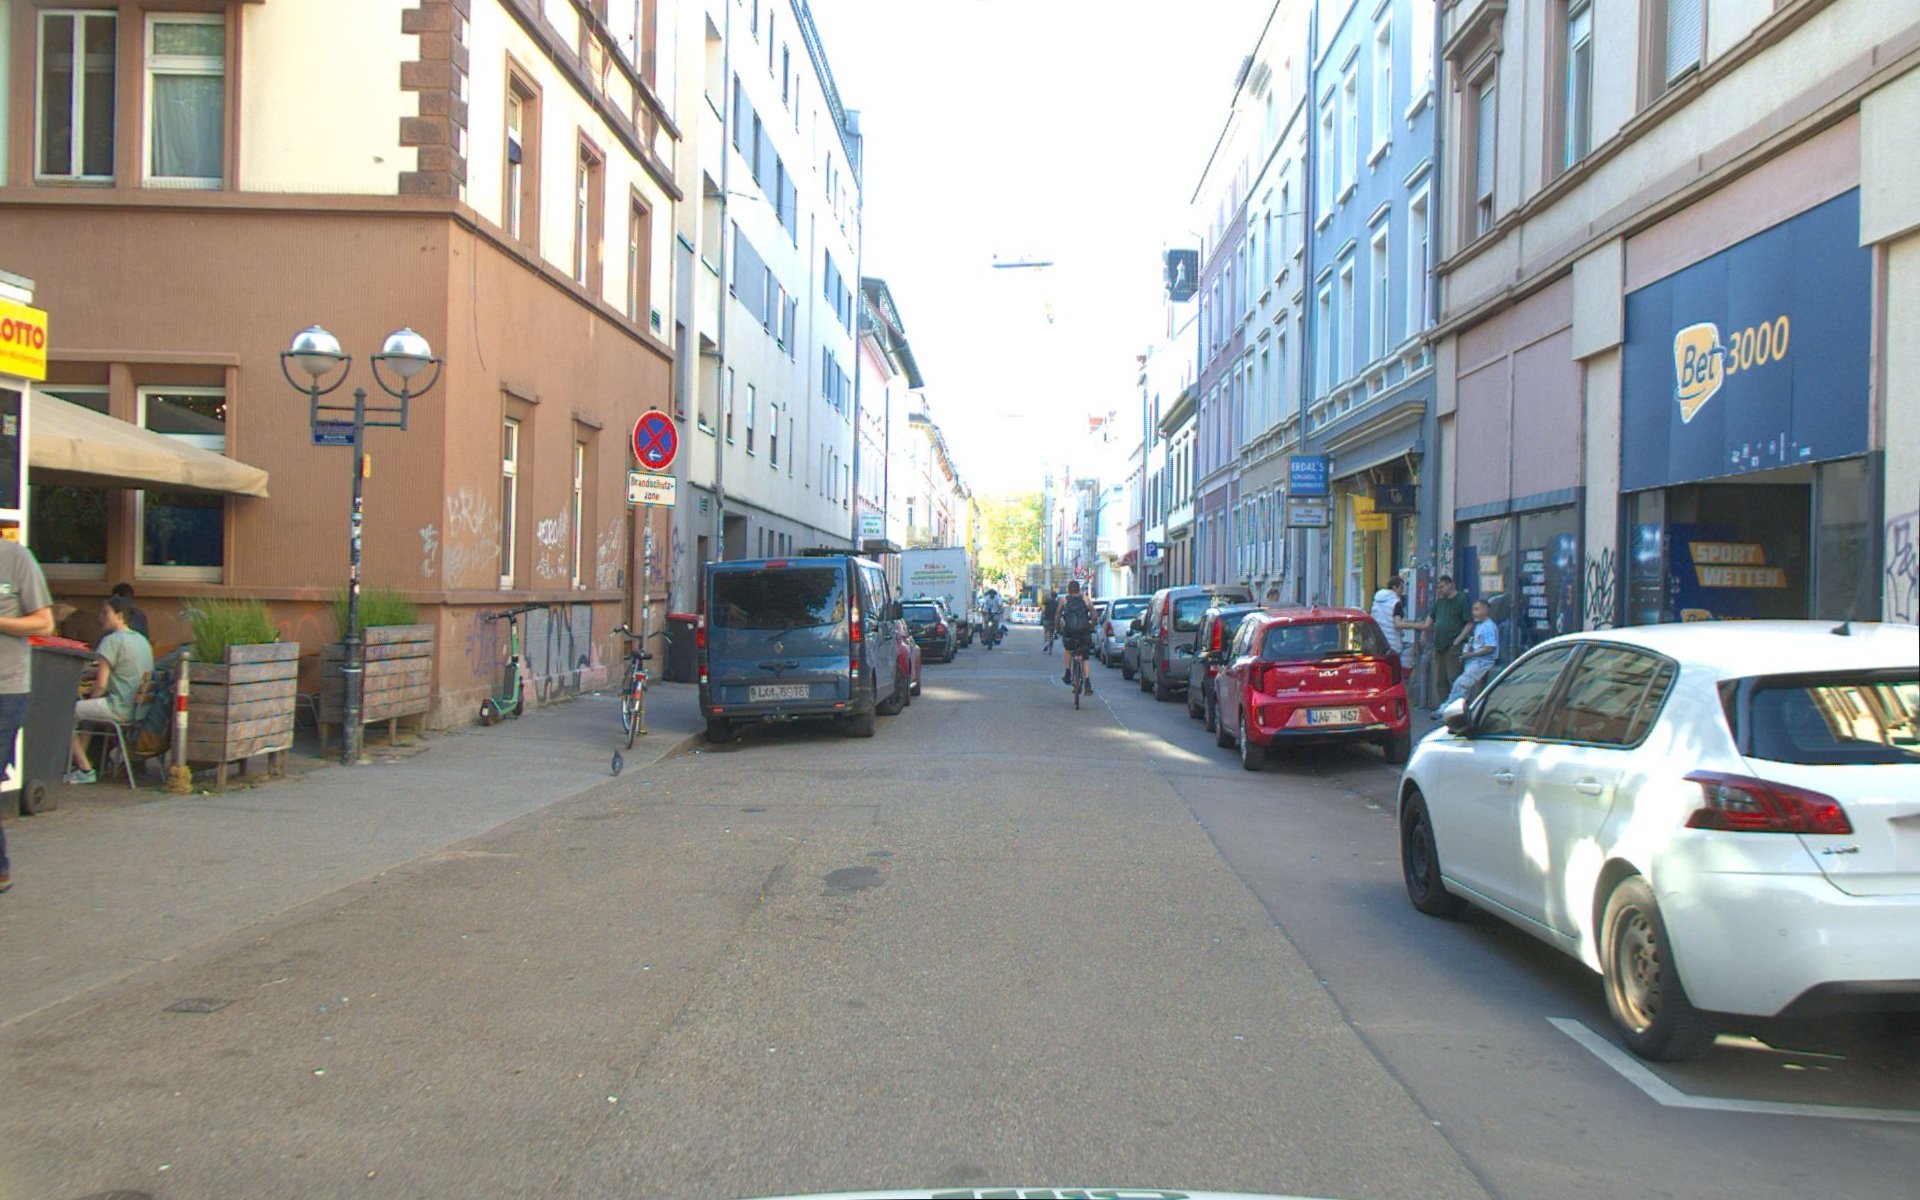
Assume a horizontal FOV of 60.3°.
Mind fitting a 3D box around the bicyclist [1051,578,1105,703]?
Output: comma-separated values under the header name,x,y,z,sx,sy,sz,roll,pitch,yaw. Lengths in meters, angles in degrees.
name,x,y,z,sx,sy,sz,roll,pitch,yaw
bicyclist,1.673,0.571,23.573,0.654,1.706,1.097,2,-1,1

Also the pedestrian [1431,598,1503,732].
name,x,y,z,sx,sy,sz,roll,pitch,yaw
pedestrian,6.101,0.773,19.917,0.575,1.556,0.658,2,-1,-4

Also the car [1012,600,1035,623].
name,x,y,z,sx,sy,sz,roll,pitch,yaw
car,4.502,0.800,117.131,1.578,1.587,3.611,1,0,1

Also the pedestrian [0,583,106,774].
name,x,y,z,sx,sy,sz,roll,pitch,yaw
pedestrian,-7.061,0.585,12.621,0.691,1.399,0.617,2,-1,0

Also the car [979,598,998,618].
name,x,y,z,sx,sy,sz,roll,pitch,yaw
car,2.726,0.752,157.617,1.714,1.853,3.796,0,-1,1

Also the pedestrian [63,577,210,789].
name,x,y,z,sx,sy,sz,roll,pitch,yaw
pedestrian,-5.988,0.591,12.059,0.691,1.470,0.617,2,-1,0

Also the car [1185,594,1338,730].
name,x,y,z,sx,sy,sz,roll,pitch,yaw
car,3.835,0.758,21.478,1.537,1.584,3.315,-2,-1,3

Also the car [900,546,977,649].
name,x,y,z,sx,sy,sz,roll,pitch,yaw
car,-0.667,-0.060,57.461,2.295,3.349,7.156,-1,-1,2

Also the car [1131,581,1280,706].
name,x,y,z,sx,sy,sz,roll,pitch,yaw
car,3.988,0.681,27.492,1.860,1.825,4.315,2,0,1

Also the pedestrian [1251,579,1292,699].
name,x,y,z,sx,sy,sz,roll,pitch,yaw
pedestrian,4.621,0.575,24.561,0.432,1.734,0.655,2,-1,2

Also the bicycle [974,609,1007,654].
name,x,y,z,sx,sy,sz,roll,pitch,yaw
bicycle,0.953,0.969,51.807,0.957,1.337,2.556,0,0,3

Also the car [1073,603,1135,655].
name,x,y,z,sx,sy,sz,roll,pitch,yaw
car,4.474,0.888,51.703,1.651,1.570,4.046,0,-1,1

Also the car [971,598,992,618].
name,x,y,z,sx,sy,sz,roll,pitch,yaw
car,1.801,0.684,140.319,1.714,1.713,3.796,0,-1,1

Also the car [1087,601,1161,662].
name,x,y,z,sx,sy,sz,roll,pitch,yaw
car,4.489,0.849,45.668,1.662,1.570,4.629,0,-1,1

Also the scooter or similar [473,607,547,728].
name,x,y,z,sx,sy,sz,roll,pitch,yaw
scooter or similar,-4.859,0.709,17.918,0.340,1.238,1.392,2,-1,1

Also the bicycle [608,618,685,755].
name,x,y,z,sx,sy,sz,roll,pitch,yaw
bicycle,-3.144,0.824,16.468,0.541,1.238,1.980,3,-1,-15

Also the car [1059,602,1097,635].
name,x,y,z,sx,sy,sz,roll,pitch,yaw
car,5.561,0.876,78.382,1.713,1.513,3.801,0,-1,3

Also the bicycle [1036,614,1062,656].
name,x,y,z,sx,sy,sz,roll,pitch,yaw
bicycle,2.563,1.001,47.782,0.635,1.149,2.136,2,-1,1

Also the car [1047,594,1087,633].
name,x,y,z,sx,sy,sz,roll,pitch,yaw
car,5.388,0.661,83.455,1.714,1.911,3.972,0,-1,-1

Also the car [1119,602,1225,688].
name,x,y,z,sx,sy,sz,roll,pitch,yaw
car,4.133,0.853,32.700,1.521,1.537,3.611,2,0,-1

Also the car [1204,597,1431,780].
name,x,y,z,sx,sy,sz,roll,pitch,yaw
car,3.519,0.824,16.865,1.573,1.600,3.554,2,0,1

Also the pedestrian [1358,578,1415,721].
name,x,y,z,sx,sy,sz,roll,pitch,yaw
pedestrian,5.400,0.618,20.971,0.549,1.771,0.427,2,-1,-1

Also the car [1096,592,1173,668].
name,x,y,z,sx,sy,sz,roll,pitch,yaw
car,4.257,0.723,40.783,1.524,1.742,3.559,2,0,1

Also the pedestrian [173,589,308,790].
name,x,y,z,sx,sy,sz,roll,pitch,yaw
pedestrian,-5.507,0.671,12.688,0.691,1.470,0.617,2,-1,0

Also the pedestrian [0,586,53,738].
name,x,y,z,sx,sy,sz,roll,pitch,yaw
pedestrian,-8.985,0.562,15.447,0.605,1.384,0.692,1,0,2

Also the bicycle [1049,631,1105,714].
name,x,y,z,sx,sy,sz,roll,pitch,yaw
bicycle,1.653,1.006,23.581,0.663,1.093,1.942,2,-1,1

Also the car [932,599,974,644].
name,x,y,z,sx,sy,sz,roll,pitch,yaw
car,-0.264,0.914,71.457,1.716,1.848,4.078,-1,-1,1

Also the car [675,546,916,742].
name,x,y,z,sx,sy,sz,roll,pitch,yaw
car,-1.751,0.437,19.526,1.978,1.912,5.299,2,0,3

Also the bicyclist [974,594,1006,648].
name,x,y,z,sx,sy,sz,roll,pitch,yaw
bicyclist,0.944,0.654,51.571,0.930,1.656,0.953,-1,0,3

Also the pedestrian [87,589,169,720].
name,x,y,z,sx,sy,sz,roll,pitch,yaw
pedestrian,-8.001,0.525,15.912,0.434,1.206,0.421,6,-2,2

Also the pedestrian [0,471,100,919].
name,x,y,z,sx,sy,sz,roll,pitch,yaw
pedestrian,-4.275,0.384,7.141,0.633,1.865,0.697,3,-1,1

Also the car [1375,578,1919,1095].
name,x,y,z,sx,sy,sz,roll,pitch,yaw
car,3.219,0.757,7.091,1.750,1.542,4.136,3,0,-1

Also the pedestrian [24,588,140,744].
name,x,y,z,sx,sy,sz,roll,pitch,yaw
pedestrian,-8.039,0.591,15.162,0.663,1.384,0.692,1,1,2

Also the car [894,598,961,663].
name,x,y,z,sx,sy,sz,roll,pitch,yaw
car,-0.885,0.826,46.847,1.681,1.679,4.246,-1,1,1

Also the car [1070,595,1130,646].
name,x,y,z,sx,sy,sz,roll,pitch,yaw
car,5.024,0.705,59.715,1.878,1.736,4.367,1,0,1

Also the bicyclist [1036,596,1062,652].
name,x,y,z,sx,sy,sz,roll,pitch,yaw
bicyclist,2.569,0.692,47.796,0.657,1.594,0.716,2,-1,0

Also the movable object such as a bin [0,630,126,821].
name,x,y,z,sx,sy,sz,roll,pitch,yaw
movable object such as a bin,-5.896,0.764,10.391,0.852,1.105,0.774,2,-1,2

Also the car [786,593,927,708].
name,x,y,z,sx,sy,sz,roll,pitch,yaw
car,-1.466,0.719,24.747,1.714,1.549,3.870,-2,-1,2

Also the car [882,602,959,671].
name,x,y,z,sx,sy,sz,roll,pitch,yaw
car,-0.922,0.863,40.907,1.681,1.504,4.500,-1,1,1

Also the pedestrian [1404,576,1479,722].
name,x,y,z,sx,sy,sz,roll,pitch,yaw
pedestrian,6.005,0.610,20.651,0.617,1.771,0.657,3,-1,-11

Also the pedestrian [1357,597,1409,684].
name,x,y,z,sx,sy,sz,roll,pitch,yaw
pedestrian,6.204,0.587,24.265,0.522,1.244,0.511,2,-1,41

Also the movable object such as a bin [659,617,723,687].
name,x,y,z,sx,sy,sz,roll,pitch,yaw
movable object such as a bin,-4.319,0.830,26.539,0.743,1.085,0.651,2,-1,21

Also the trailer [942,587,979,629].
name,x,y,z,sx,sy,sz,roll,pitch,yaw
trailer,0.059,0.421,86.891,1.843,2.129,3.737,0,-1,1
